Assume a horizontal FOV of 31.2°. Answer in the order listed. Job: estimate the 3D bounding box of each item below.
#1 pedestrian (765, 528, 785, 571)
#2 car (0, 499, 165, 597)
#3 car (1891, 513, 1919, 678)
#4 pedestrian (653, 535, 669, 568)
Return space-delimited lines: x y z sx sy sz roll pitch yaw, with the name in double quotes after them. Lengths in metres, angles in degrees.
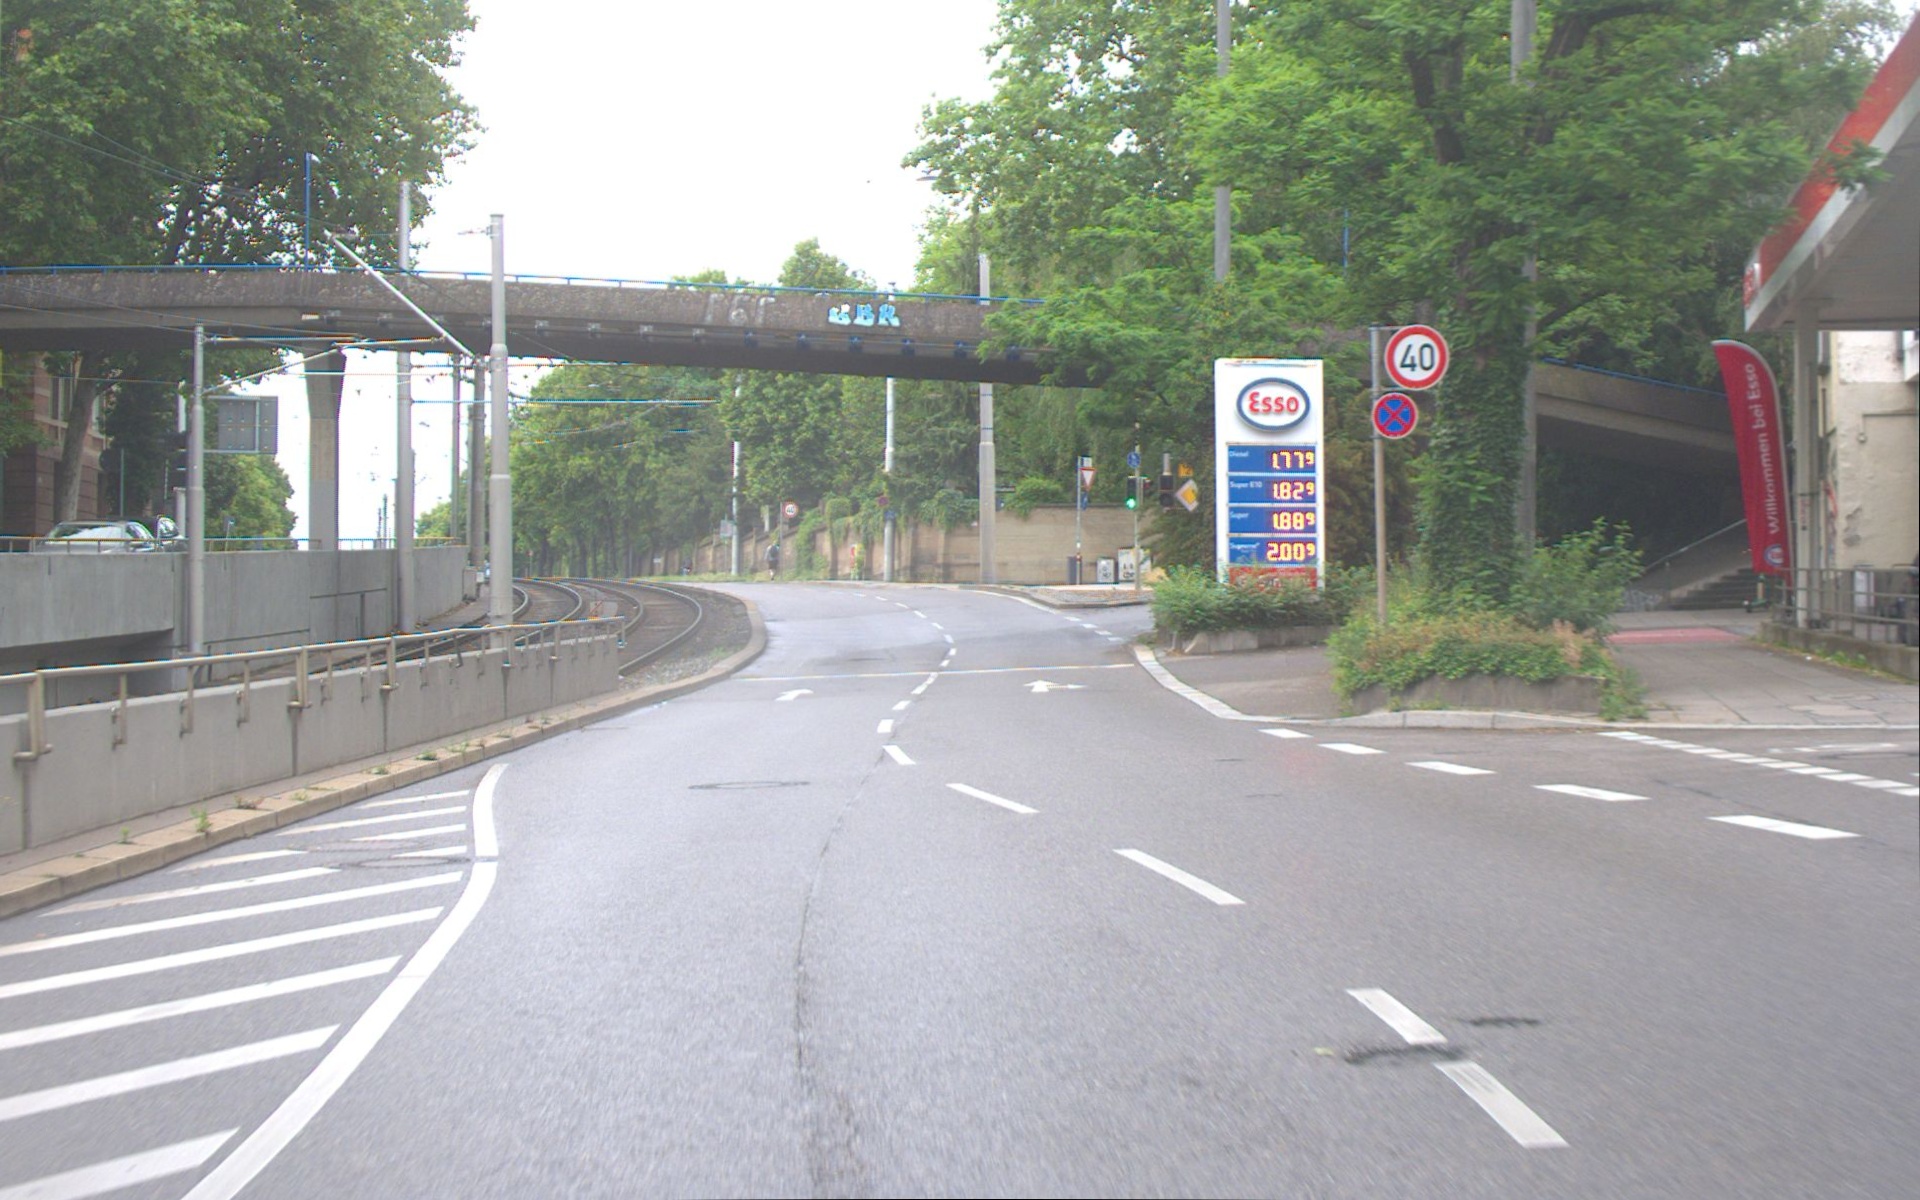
-7.950 -2.168 147.952 0.719 1.844 0.783 2 0 -11 "pedestrian"
-14.514 -0.853 56.734 1.794 1.505 4.000 2 1 1 "car"
10.538 -0.064 34.873 1.773 1.618 3.864 -2 0 11 "car"
-15.718 -2.554 180.664 0.719 1.681 0.729 2 0 -11 "pedestrian"
